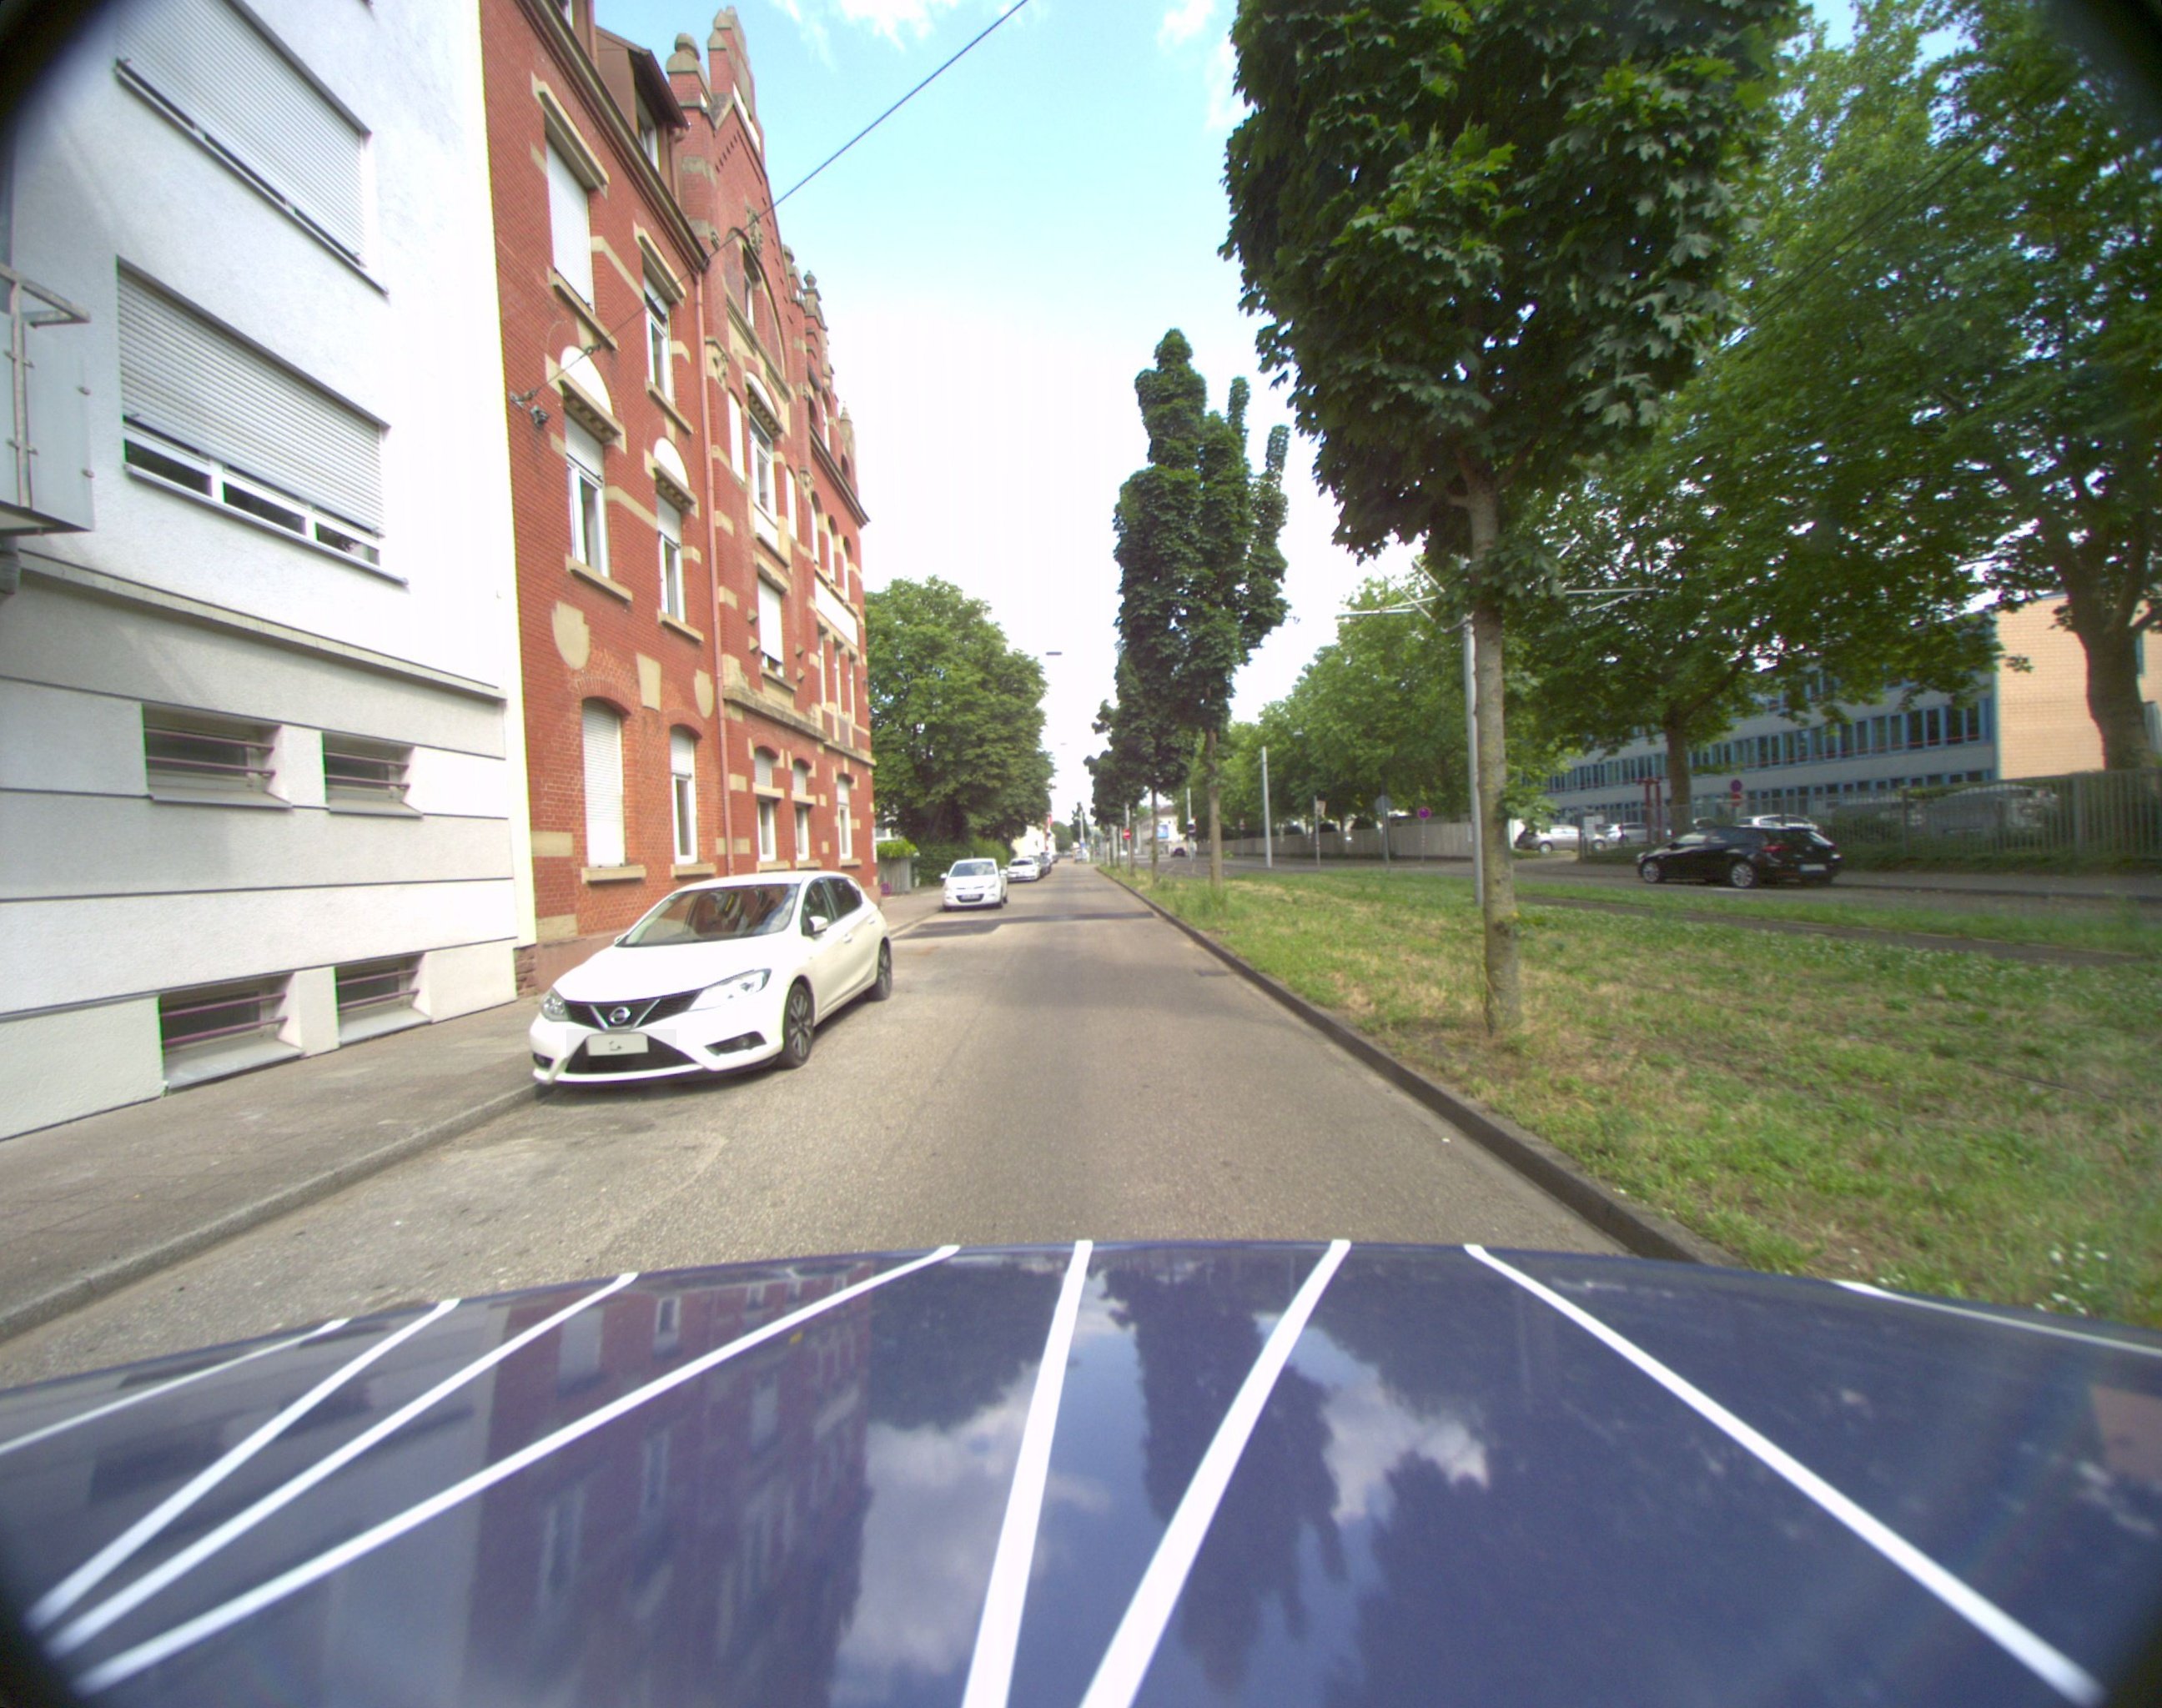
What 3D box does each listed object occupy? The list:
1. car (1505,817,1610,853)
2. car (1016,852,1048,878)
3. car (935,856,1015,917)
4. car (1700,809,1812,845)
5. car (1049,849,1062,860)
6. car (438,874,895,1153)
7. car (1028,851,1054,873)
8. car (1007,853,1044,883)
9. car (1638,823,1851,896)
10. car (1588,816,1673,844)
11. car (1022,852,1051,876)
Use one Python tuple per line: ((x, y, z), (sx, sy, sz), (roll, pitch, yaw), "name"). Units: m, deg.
((23.868, -0.944, 38.179), (3.997, 1.609, 1.999), (-2, 1, -2), "car")
((-3.237, 0.686, 50.895), (1.801, 1.521, 4.040), (-5, 1, 0), "car")
((-3.131, 0.908, 23.172), (1.801, 1.521, 4.040), (-4, 1, 0), "car")
((34.491, -1.353, 38.881), (3.997, 1.609, 1.999), (-2, 1, -2), "car")
((-3.976, 0.100, 119.888), (1.801, 1.521, 4.040), (-5, 1, 0), "car")
((-3.104, 1.058, 6.811), (1.801, 1.521, 4.040), (-4, 0, 0), "car")
((-3.216, 0.634, 61.768), (1.801, 1.521, 4.040), (-5, 1, 0), "car")
((-3.207, 0.773, 44.648), (1.801, 1.521, 4.040), (-5, 1, 0), "car")
((15.503, 0.100, 18.067), (1.601, 1.455, 4.000), (-3, 1, 1), "car")
((35.299, -1.509, 48.870), (3.997, 1.609, 1.999), (-2, 1, -2), "car")
((-3.279, 0.704, 56.355), (1.801, 1.521, 4.040), (-5, 1, 0), "car")
